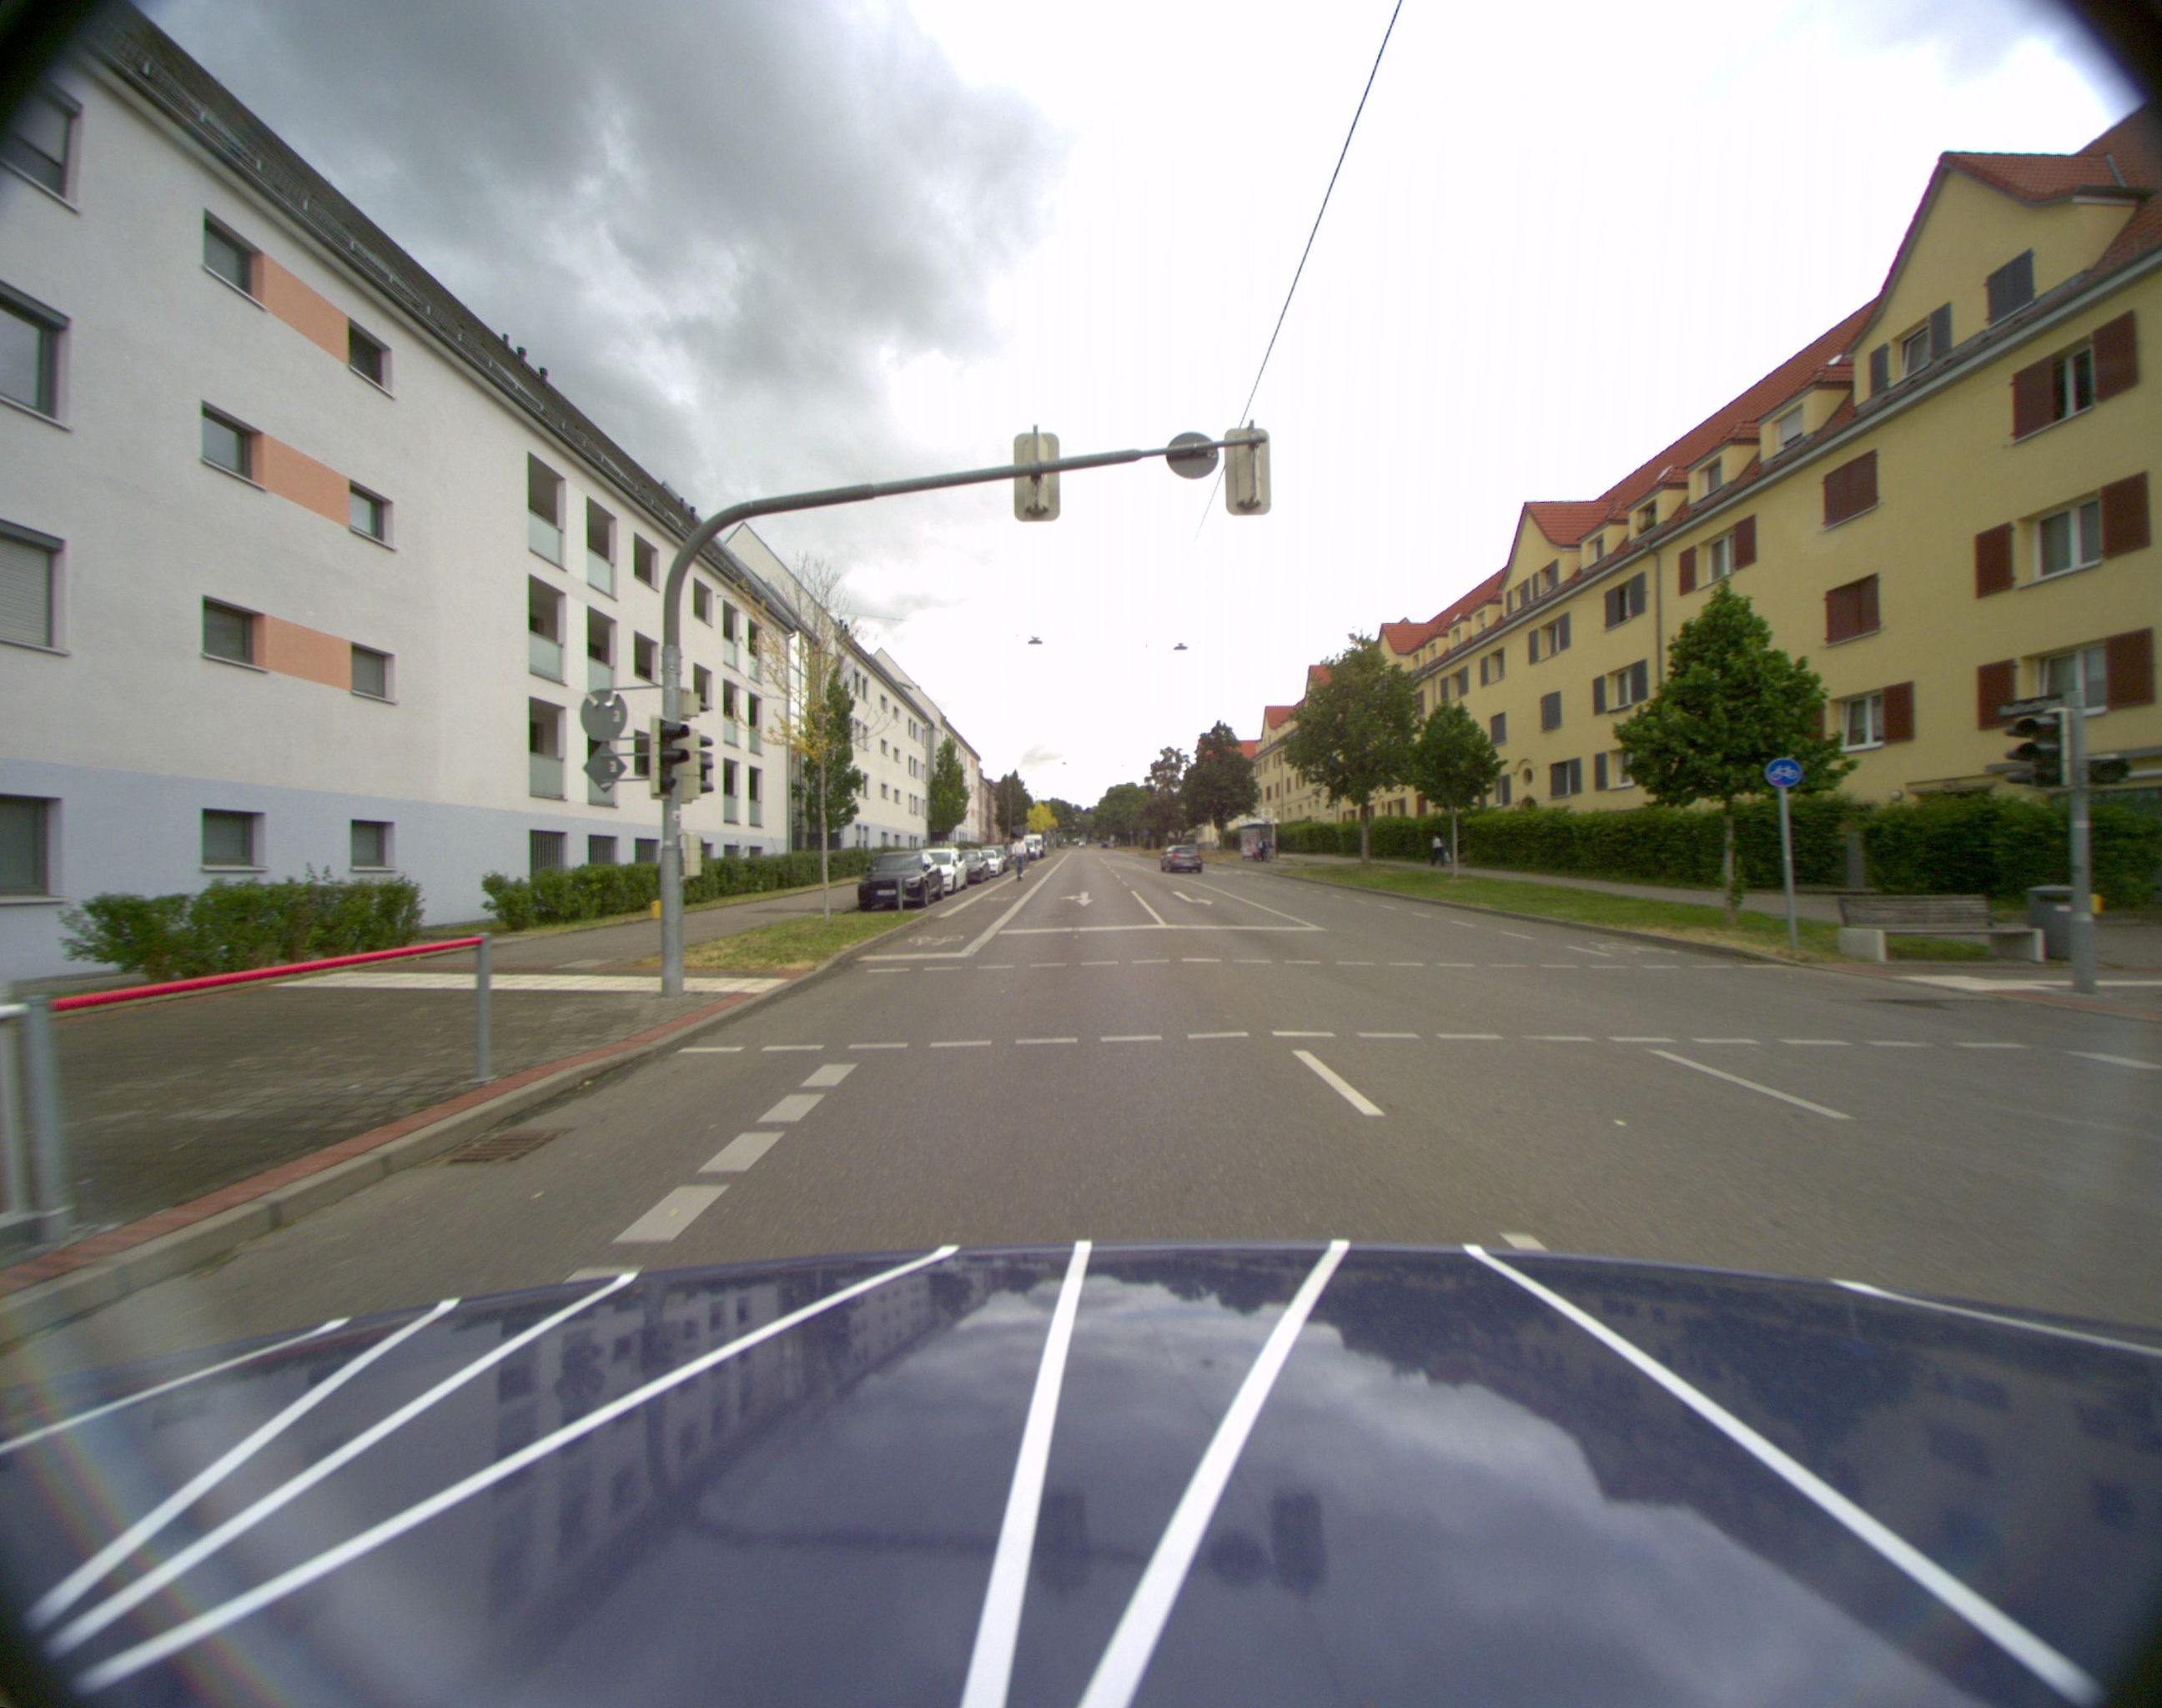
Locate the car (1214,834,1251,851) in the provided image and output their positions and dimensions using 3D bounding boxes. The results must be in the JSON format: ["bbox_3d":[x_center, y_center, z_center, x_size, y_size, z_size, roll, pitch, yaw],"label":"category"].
[{"bbox_3d":[20.807,-1.634,104.744,4.729,2.240,1.995,-1,1,1],"label":"car"}]

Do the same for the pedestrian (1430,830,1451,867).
[{"bbox_3d":[15.951,-0.234,33.727,0.642,1.610,0.618,-1,1,-1],"label":"pedestrian"}]

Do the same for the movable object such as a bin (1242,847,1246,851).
[{"bbox_3d":[16.654,-0.519,77.792,0.307,0.345,0.581,-1,1,6],"label":"movable object such as a bin"}]

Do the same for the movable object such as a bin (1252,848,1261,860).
[{"bbox_3d":[12.392,-0.036,53.762,0.465,0.821,0.665,-2,1,1],"label":"movable object such as a bin"}]

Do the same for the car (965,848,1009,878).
[{"bbox_3d":[-4.910,0.425,40.116,1.734,1.405,4.499,-3,1,-1],"label":"car"}]

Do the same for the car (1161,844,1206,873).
[{"bbox_3d":[5.561,0.222,41.729,1.761,1.464,4.305,2,1,-1],"label":"car"}]

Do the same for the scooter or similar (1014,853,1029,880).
[{"bbox_3d":[-2.655,0.527,34.059,0.492,1.156,2.074,-1,1,0],"label":"scooter or similar"}]

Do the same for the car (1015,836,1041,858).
[{"bbox_3d":[-4.910,-0.621,70.800,1.999,1.933,5.210,-1,1,0],"label":"car"}]

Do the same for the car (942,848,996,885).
[{"bbox_3d":[-4.995,0.514,34.456,1.750,1.459,4.948,-3,1,-1],"label":"car"}]

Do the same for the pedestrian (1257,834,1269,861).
[{"bbox_3d":[11.995,-0.418,50.027,0.598,1.717,0.861,-2,1,3],"label":"pedestrian"}]

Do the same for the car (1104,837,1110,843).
[{"bbox_3d":[8.104,-4.390,235.367,1.860,1.596,4.000,-2,1,1],"label":"car"}]

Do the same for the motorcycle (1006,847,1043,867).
[{"bbox_3d":[-4.078,0.213,54.968,2.605,1.372,0.692,-1,1,-4],"label":"motorcycle"}]

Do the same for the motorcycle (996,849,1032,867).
[{"bbox_3d":[-4.925,0.285,55.946,2.605,1.271,0.753,-1,1,-4],"label":"motorcycle"}]

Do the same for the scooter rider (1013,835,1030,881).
[{"bbox_3d":[-2.656,0.185,34.042,0.627,2.002,0.757,-1,1,-1],"label":"scooter rider"}]

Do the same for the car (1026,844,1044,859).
[{"bbox_3d":[-4.560,-0.261,75.938,1.529,1.477,3.725,-3,1,0],"label":"car"}]

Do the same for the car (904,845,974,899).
[{"bbox_3d":[-5.066,0.577,27.681,1.663,1.706,4.551,-3,1,0],"label":"car"}]

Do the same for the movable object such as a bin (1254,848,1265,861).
[{"bbox_3d":[12.338,0.031,52.494,0.538,0.841,0.665,-2,1,1],"label":"movable object such as a bin"}]

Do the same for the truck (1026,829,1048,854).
[{"bbox_3d":[-4.661,-1.292,81.596,2.058,2.551,5.688,-1,1,-1],"label":"truck"}]

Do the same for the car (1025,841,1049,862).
[{"bbox_3d":[-3.398,-0.220,59.622,1.685,1.536,4.338,-2,1,-1],"label":"car"}]

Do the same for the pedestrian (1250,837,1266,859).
[{"bbox_3d":[12.520,-0.412,53.769,0.901,1.465,0.806,-2,1,1],"label":"pedestrian"}]

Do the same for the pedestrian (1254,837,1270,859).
[{"bbox_3d":[12.480,-0.424,52.467,0.901,1.501,0.806,-2,1,1],"label":"pedestrian"}]

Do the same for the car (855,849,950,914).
[{"bbox_3d":[-5.154,0.729,22.584,1.739,1.579,4.571,-3,1,-1],"label":"car"}]

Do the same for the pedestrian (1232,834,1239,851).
[{"bbox_3d":[15.875,-1.163,77.864,0.515,1.769,0.753,-1,1,0],"label":"pedestrian"}]

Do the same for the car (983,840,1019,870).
[{"bbox_3d":[-4.859,0.029,46.486,1.636,1.641,4.355,-3,1,1],"label":"car"}]

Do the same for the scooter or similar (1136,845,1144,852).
[{"bbox_3d":[10.021,-0.920,129.672,1.374,1.080,0.466,0,1,-4],"label":"scooter or similar"}]
